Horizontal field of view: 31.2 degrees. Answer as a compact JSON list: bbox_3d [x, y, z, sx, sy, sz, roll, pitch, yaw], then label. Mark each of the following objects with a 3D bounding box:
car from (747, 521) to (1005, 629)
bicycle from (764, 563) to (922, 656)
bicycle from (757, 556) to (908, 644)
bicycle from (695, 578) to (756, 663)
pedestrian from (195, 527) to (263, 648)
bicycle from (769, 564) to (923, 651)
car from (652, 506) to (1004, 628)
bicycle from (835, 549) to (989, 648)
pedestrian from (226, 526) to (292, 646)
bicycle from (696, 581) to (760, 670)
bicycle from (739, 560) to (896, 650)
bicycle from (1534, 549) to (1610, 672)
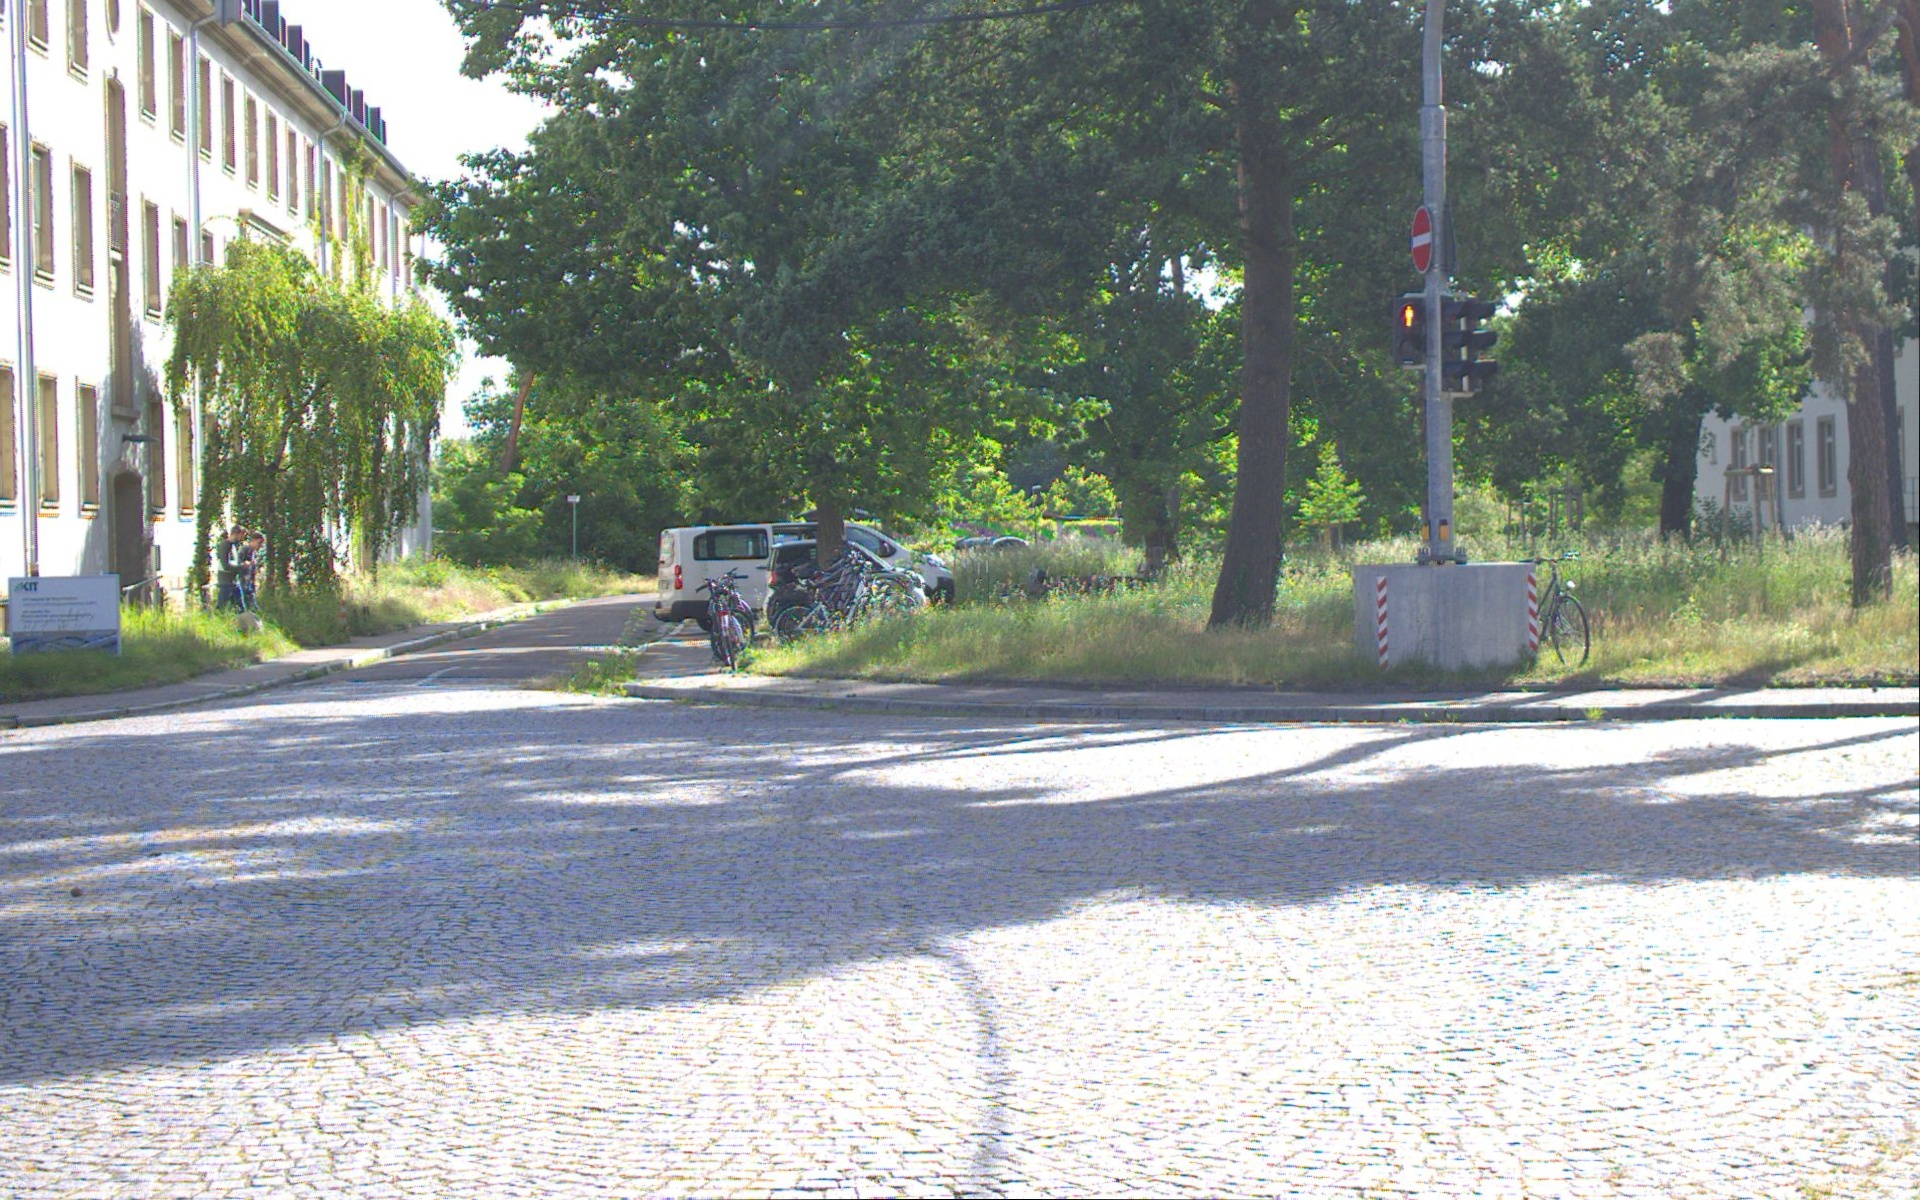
[{"bbox_3d":[-1.405,-0.425,56.585,3.986,1.678,1.848,-1,1,-10],"label":"car"},{"bbox_3d":[-1.495,0.116,43.634,1.940,1.125,0.750,-1,1,-5],"label":"bicycle"},{"bbox_3d":[-1.702,-0.011,45.937,1.940,1.125,0.648,-1,1,-8],"label":"bicycle"},{"bbox_3d":[-2.816,0.236,41.245,0.695,0.968,1.861,-1,1,-5],"label":"bicycle"},{"bbox_3d":[-11.048,-0.196,51.977,0.812,1.811,0.555,-1,1,8],"label":"pedestrian"},{"bbox_3d":[-1.423,0.086,42.840,1.854,1.027,0.750,-1,1,-5],"label":"bicycle"},{"bbox_3d":[-2.369,-0.596,60.760,5.929,2.007,2.476,-1,1,-9],"label":"car"},{"bbox_3d":[-0.622,-0.025,44.369,1.940,1.231,0.485,-1,1,-5],"label":"bicycle"},{"bbox_3d":[-10.735,-0.216,52.686,0.767,1.811,0.682,-1,1,8],"label":"pedestrian"},{"bbox_3d":[-2.662,0.280,39.314,0.695,0.968,1.861,-1,1,-5],"label":"bicycle"},{"bbox_3d":[-1.854,0.055,44.838,1.941,1.125,0.648,-2,1,-29],"label":"bicycle"},{"bbox_3d":[5.506,0.090,30.964,0.466,1.076,1.174,-1,1,1],"label":"bicycle"}]
